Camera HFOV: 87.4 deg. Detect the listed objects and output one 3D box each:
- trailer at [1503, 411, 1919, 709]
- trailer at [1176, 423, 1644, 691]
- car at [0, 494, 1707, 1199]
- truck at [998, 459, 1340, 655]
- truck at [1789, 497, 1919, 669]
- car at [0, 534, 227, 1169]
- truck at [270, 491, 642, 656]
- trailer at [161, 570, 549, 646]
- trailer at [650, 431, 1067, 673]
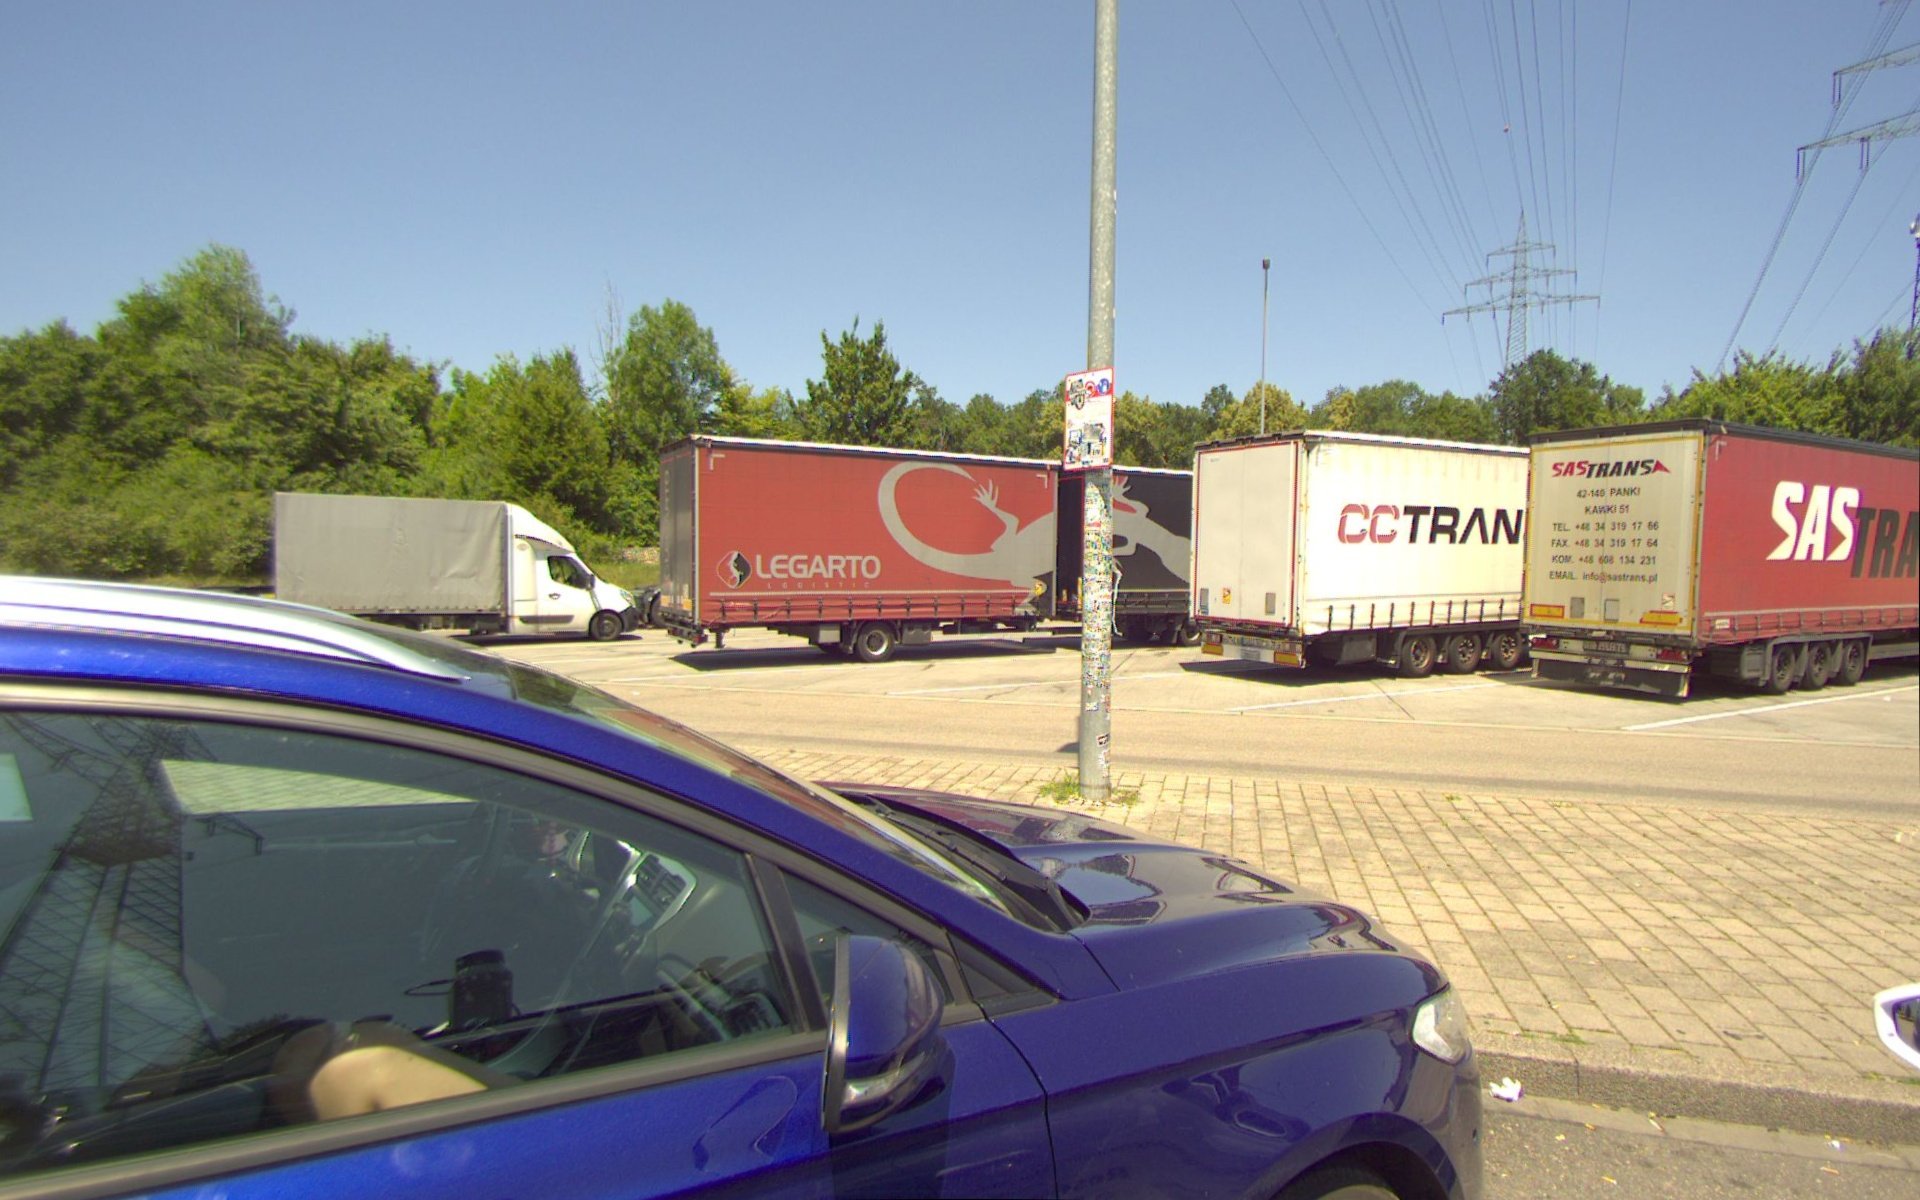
[{"bbox_3d":[15.463,-0.674,18.605,13.599,4.127,2.807,-1,3,-31],"label":"trailer"},{"bbox_3d":[8.969,-0.768,19.339,10.264,4.158,2.693,-1,3,-30],"label":"trailer"},{"bbox_3d":[-0.976,0.652,1.446,4.522,1.491,1.743,0,2,-32],"label":"car"},{"bbox_3d":[5.268,-0.996,24.534,8.586,4.127,2.693,-1,3,-30],"label":"truck"},{"bbox_3d":[21.255,-0.401,22.042,5.903,3.409,2.798,-1,3,-30],"label":"truck"},{"bbox_3d":[-4.418,0.580,2.083,4.522,1.526,1.743,0,2,-32],"label":"car"},{"bbox_3d":[-11.242,-0.620,22.989,7.187,3.289,2.694,-1,3,-29],"label":"truck"},{"bbox_3d":[-14.753,0.108,25.229,8.007,1.648,2.199,-1,3,-30],"label":"trailer"},{"bbox_3d":[-1.885,-0.901,20.325,8.007,4.127,2.693,-1,3,-30],"label":"trailer"}]
